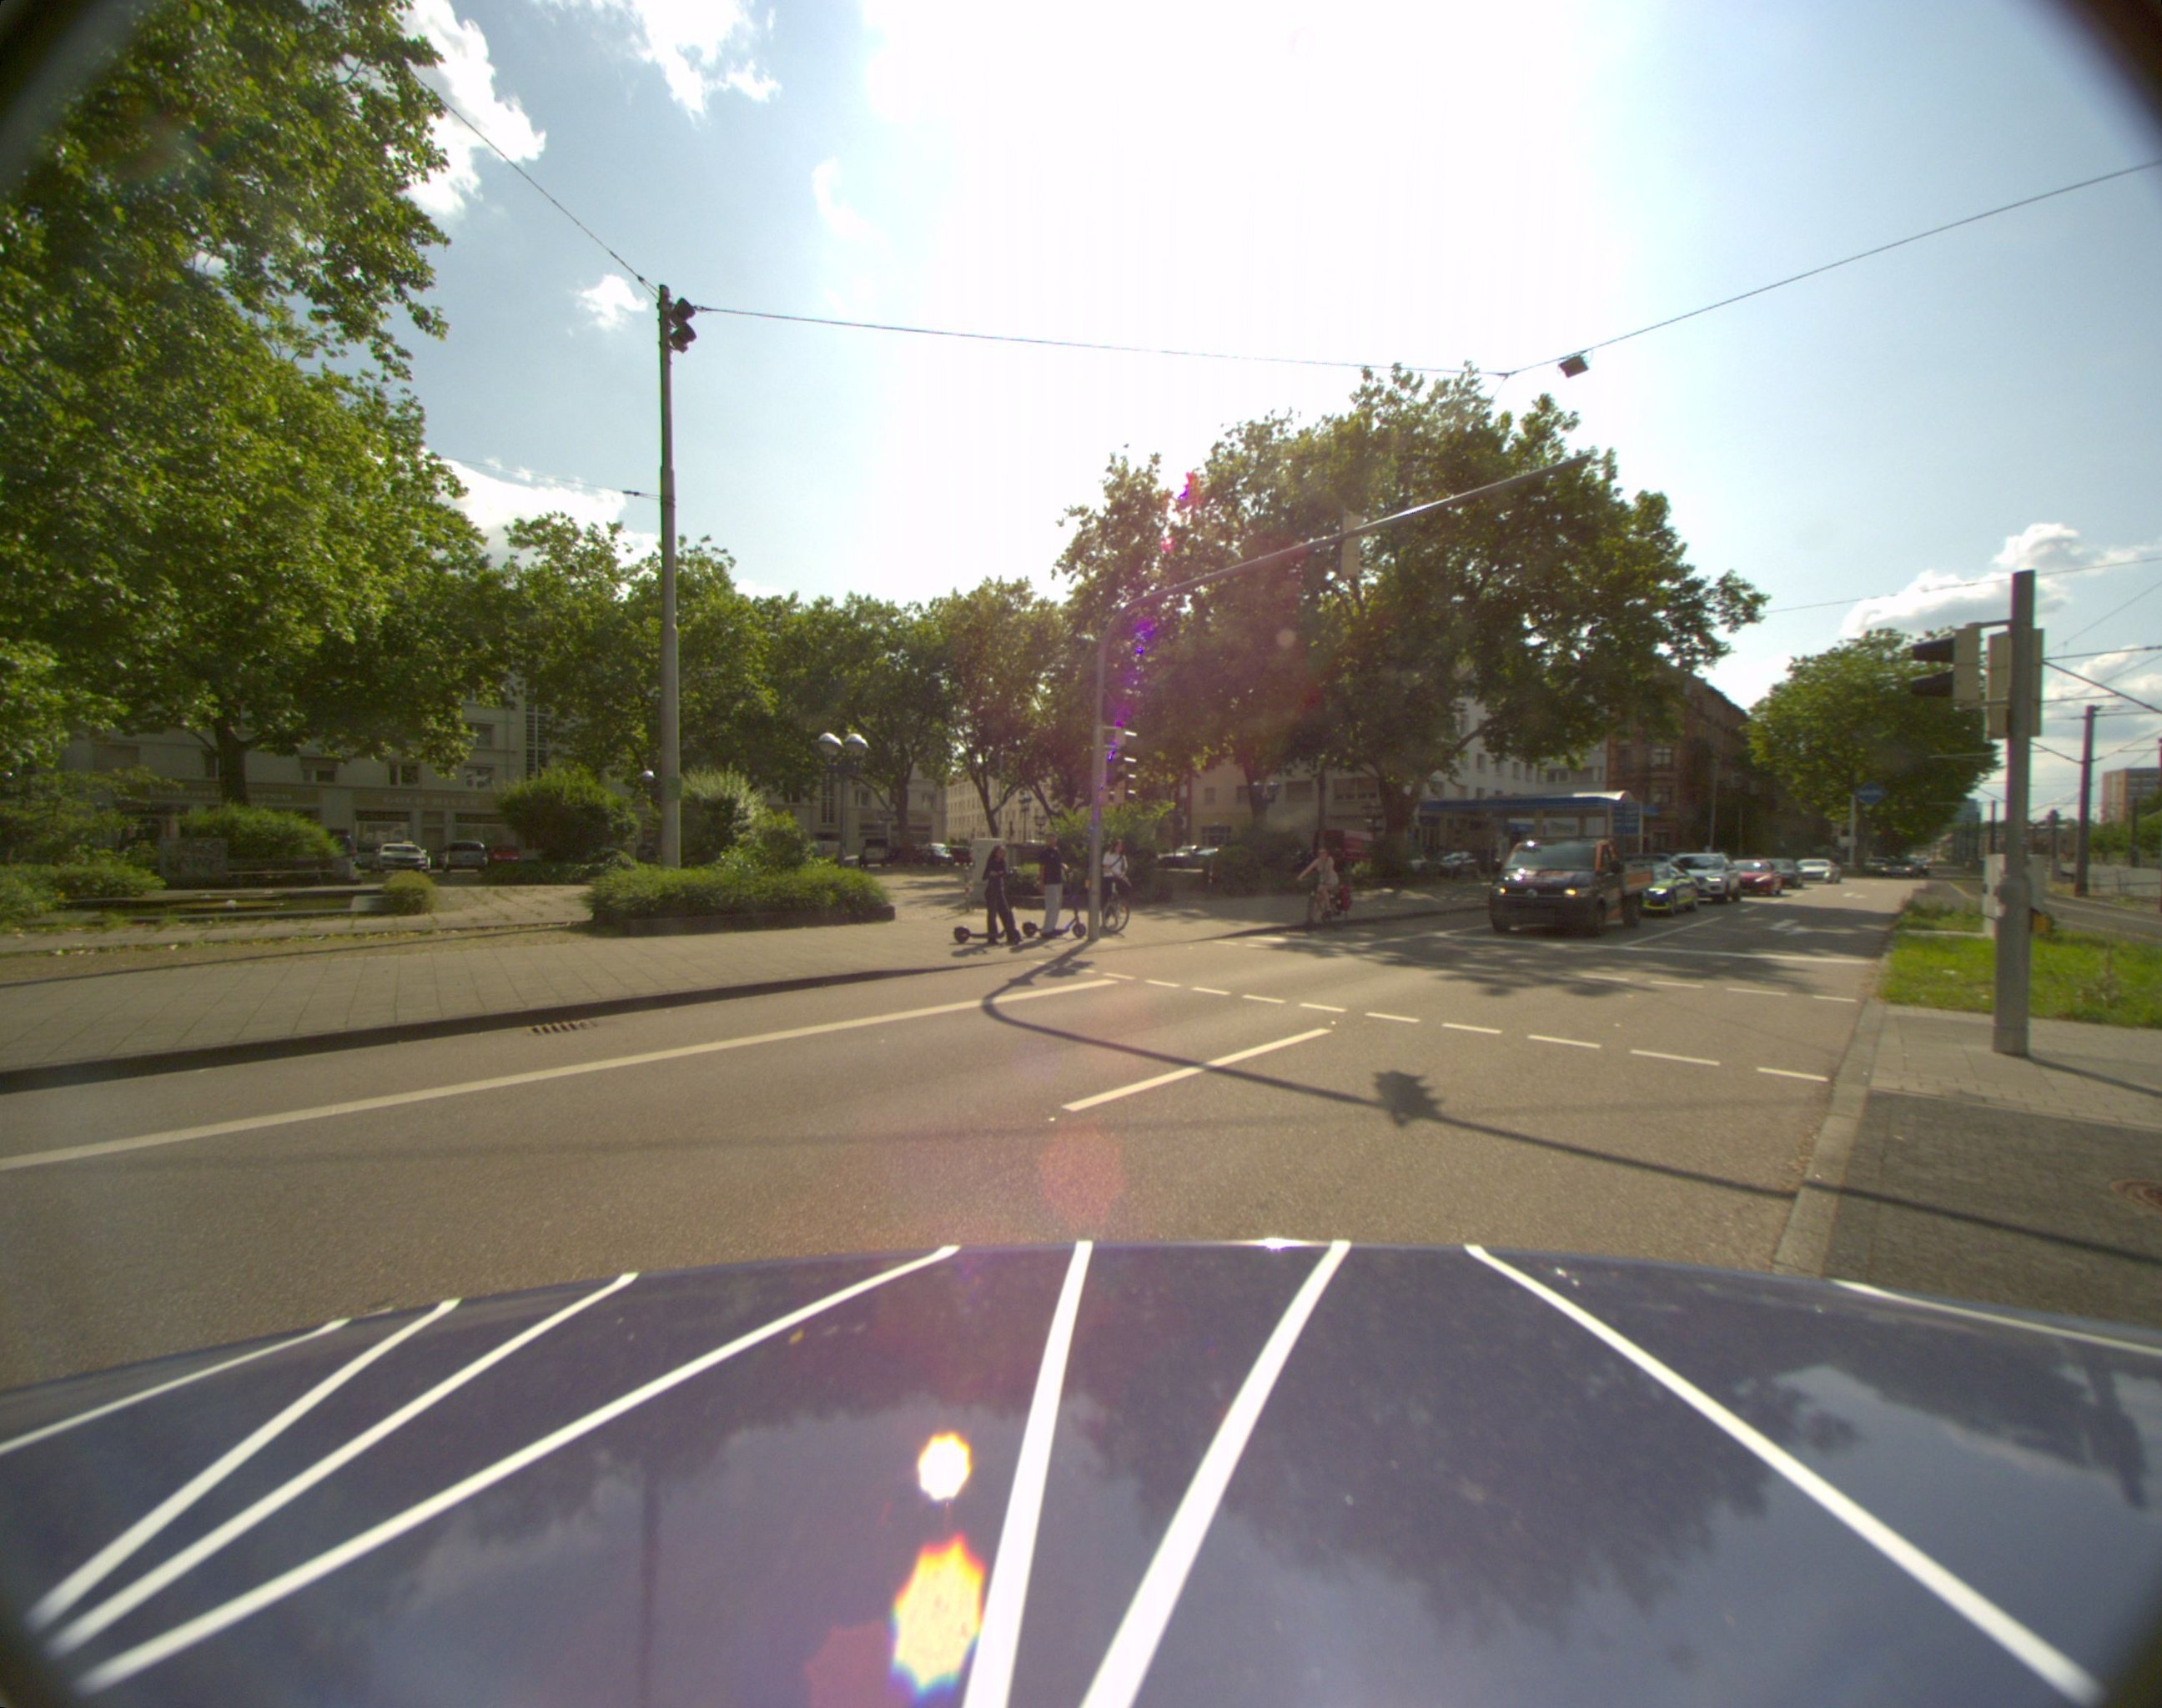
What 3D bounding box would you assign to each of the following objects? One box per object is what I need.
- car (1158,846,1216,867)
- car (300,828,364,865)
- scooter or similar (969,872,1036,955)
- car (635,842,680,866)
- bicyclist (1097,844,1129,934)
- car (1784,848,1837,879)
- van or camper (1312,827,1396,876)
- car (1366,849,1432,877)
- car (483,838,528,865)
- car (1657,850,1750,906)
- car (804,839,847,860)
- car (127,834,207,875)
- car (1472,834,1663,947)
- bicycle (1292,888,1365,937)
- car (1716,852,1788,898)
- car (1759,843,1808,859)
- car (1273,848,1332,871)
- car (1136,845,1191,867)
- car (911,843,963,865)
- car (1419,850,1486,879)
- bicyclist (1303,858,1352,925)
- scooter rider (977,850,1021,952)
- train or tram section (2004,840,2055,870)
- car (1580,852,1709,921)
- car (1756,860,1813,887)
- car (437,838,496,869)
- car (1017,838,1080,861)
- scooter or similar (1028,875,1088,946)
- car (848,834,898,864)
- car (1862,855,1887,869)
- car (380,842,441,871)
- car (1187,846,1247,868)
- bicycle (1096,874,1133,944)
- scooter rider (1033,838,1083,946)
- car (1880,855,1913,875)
[{"bbox_3d":[7.171,0.151,51.208,4.008,1.355,1.763,0,-1,-43],"label":"car"},{"bbox_3d":[-35.956,-0.378,36.434,3.987,1.674,2.004,2,2,43],"label":"car"},{"bbox_3d":[-1.266,0.935,12.252,0.874,1.219,0.546,3,3,26],"label":"scooter or similar"},{"bbox_3d":[-30.818,0.000,55.283,1.855,1.650,4.071,0,2,-45],"label":"car"},{"bbox_3d":[0.607,0.650,14.537,0.507,1.659,0.583,2,4,-3],"label":"bicyclist"},{"bbox_3d":[43.391,0.529,45.159,5.086,1.598,1.947,-2,3,-42],"label":"car"},{"bbox_3d":[15.563,-0.137,43.156,5.360,2.625,2.103,-1,-1,-41],"label":"van or camper"},{"bbox_3d":[17.089,0.426,40.718,4.008,1.402,1.753,0,1,-43],"label":"car"},{"bbox_3d":[-37.535,-0.163,49.527,1.855,1.650,4.071,0,2,-44],"label":"car"},{"bbox_3d":[21.180,0.740,25.775,4.688,1.598,1.760,-2,3,-42],"label":"car"},{"bbox_3d":[-21.493,-0.425,63.849,1.855,1.650,4.071,0,2,-45],"label":"car"},{"bbox_3d":[-39.499,-0.006,32.917,4.071,1.650,1.855,2,2,45],"label":"car"},{"bbox_3d":[10.466,0.588,16.157,5.346,1.976,2.075,-2,3,-42],"label":"car"},{"bbox_3d":[5.154,1.193,15.788,1.720,0.916,0.469,0,2,-34],"label":"bicycle"},{"bbox_3d":[26.791,0.770,30.296,4.151,1.598,1.713,-2,3,-42],"label":"car"},{"bbox_3d":[89.131,-0.422,96.403,2.004,1.907,4.402,0,2,-43],"label":"car"},{"bbox_3d":[13.088,0.298,44.748,4.008,1.286,1.474,0,-1,-43],"label":"car"},{"bbox_3d":[5.867,0.146,53.608,4.008,1.511,1.659,0,-1,-43],"label":"car"},{"bbox_3d":[-10.975,-0.021,57.762,1.855,1.524,4.071,0,2,-45],"label":"car"},{"bbox_3d":[19.021,0.511,38.794,4.008,1.402,1.753,0,1,-43],"label":"car"},{"bbox_3d":[5.105,0.764,15.741,0.911,1.336,0.469,-1,2,-34],"label":"bicyclist"},{"bbox_3d":[-1.328,0.736,12.276,0.436,1.584,0.546,3,3,26],"label":"scooter rider"},{"bbox_3d":[117.380,0.093,94.211,12.862,3.560,2.853,0,2,-43],"label":"train or tram section"},{"bbox_3d":[15.665,0.795,21.004,5.164,1.642,1.867,-1,0,-42],"label":"car"},{"bbox_3d":[34.584,0.914,37.316,3.640,1.182,1.617,-1,2,-41],"label":"car"},{"bbox_3d":[-32.381,-0.059,40.000,3.931,1.510,1.873,2,2,43],"label":"car"},{"bbox_3d":[-2.648,-0.366,63.205,1.994,1.861,5.264,-1,-1,45],"label":"car"},{"bbox_3d":[-0.407,0.961,13.081,0.877,1.165,0.544,1,3,-17],"label":"scooter or similar"},{"bbox_3d":[-14.940,-0.315,54.582,2.259,2.001,3.924,-1,-1,-35],"label":"car"},{"bbox_3d":[78.158,0.819,74.846,3.498,1.295,1.498,0,-1,-40],"label":"car"},{"bbox_3d":[-33.601,0.104,38.053,3.931,1.346,1.873,2,2,43],"label":"car"},{"bbox_3d":[8.884,0.172,49.401,4.008,1.355,1.763,0,-1,-43],"label":"car"},{"bbox_3d":[0.612,0.993,14.288,0.507,1.106,1.629,2,3,-3],"label":"bicycle"},{"bbox_3d":[-0.400,0.636,13.065,0.680,1.800,0.544,1,3,-17],"label":"scooter rider"},{"bbox_3d":[66.150,0.851,61.630,4.195,1.491,1.760,-1,2,-42],"label":"car"}]
